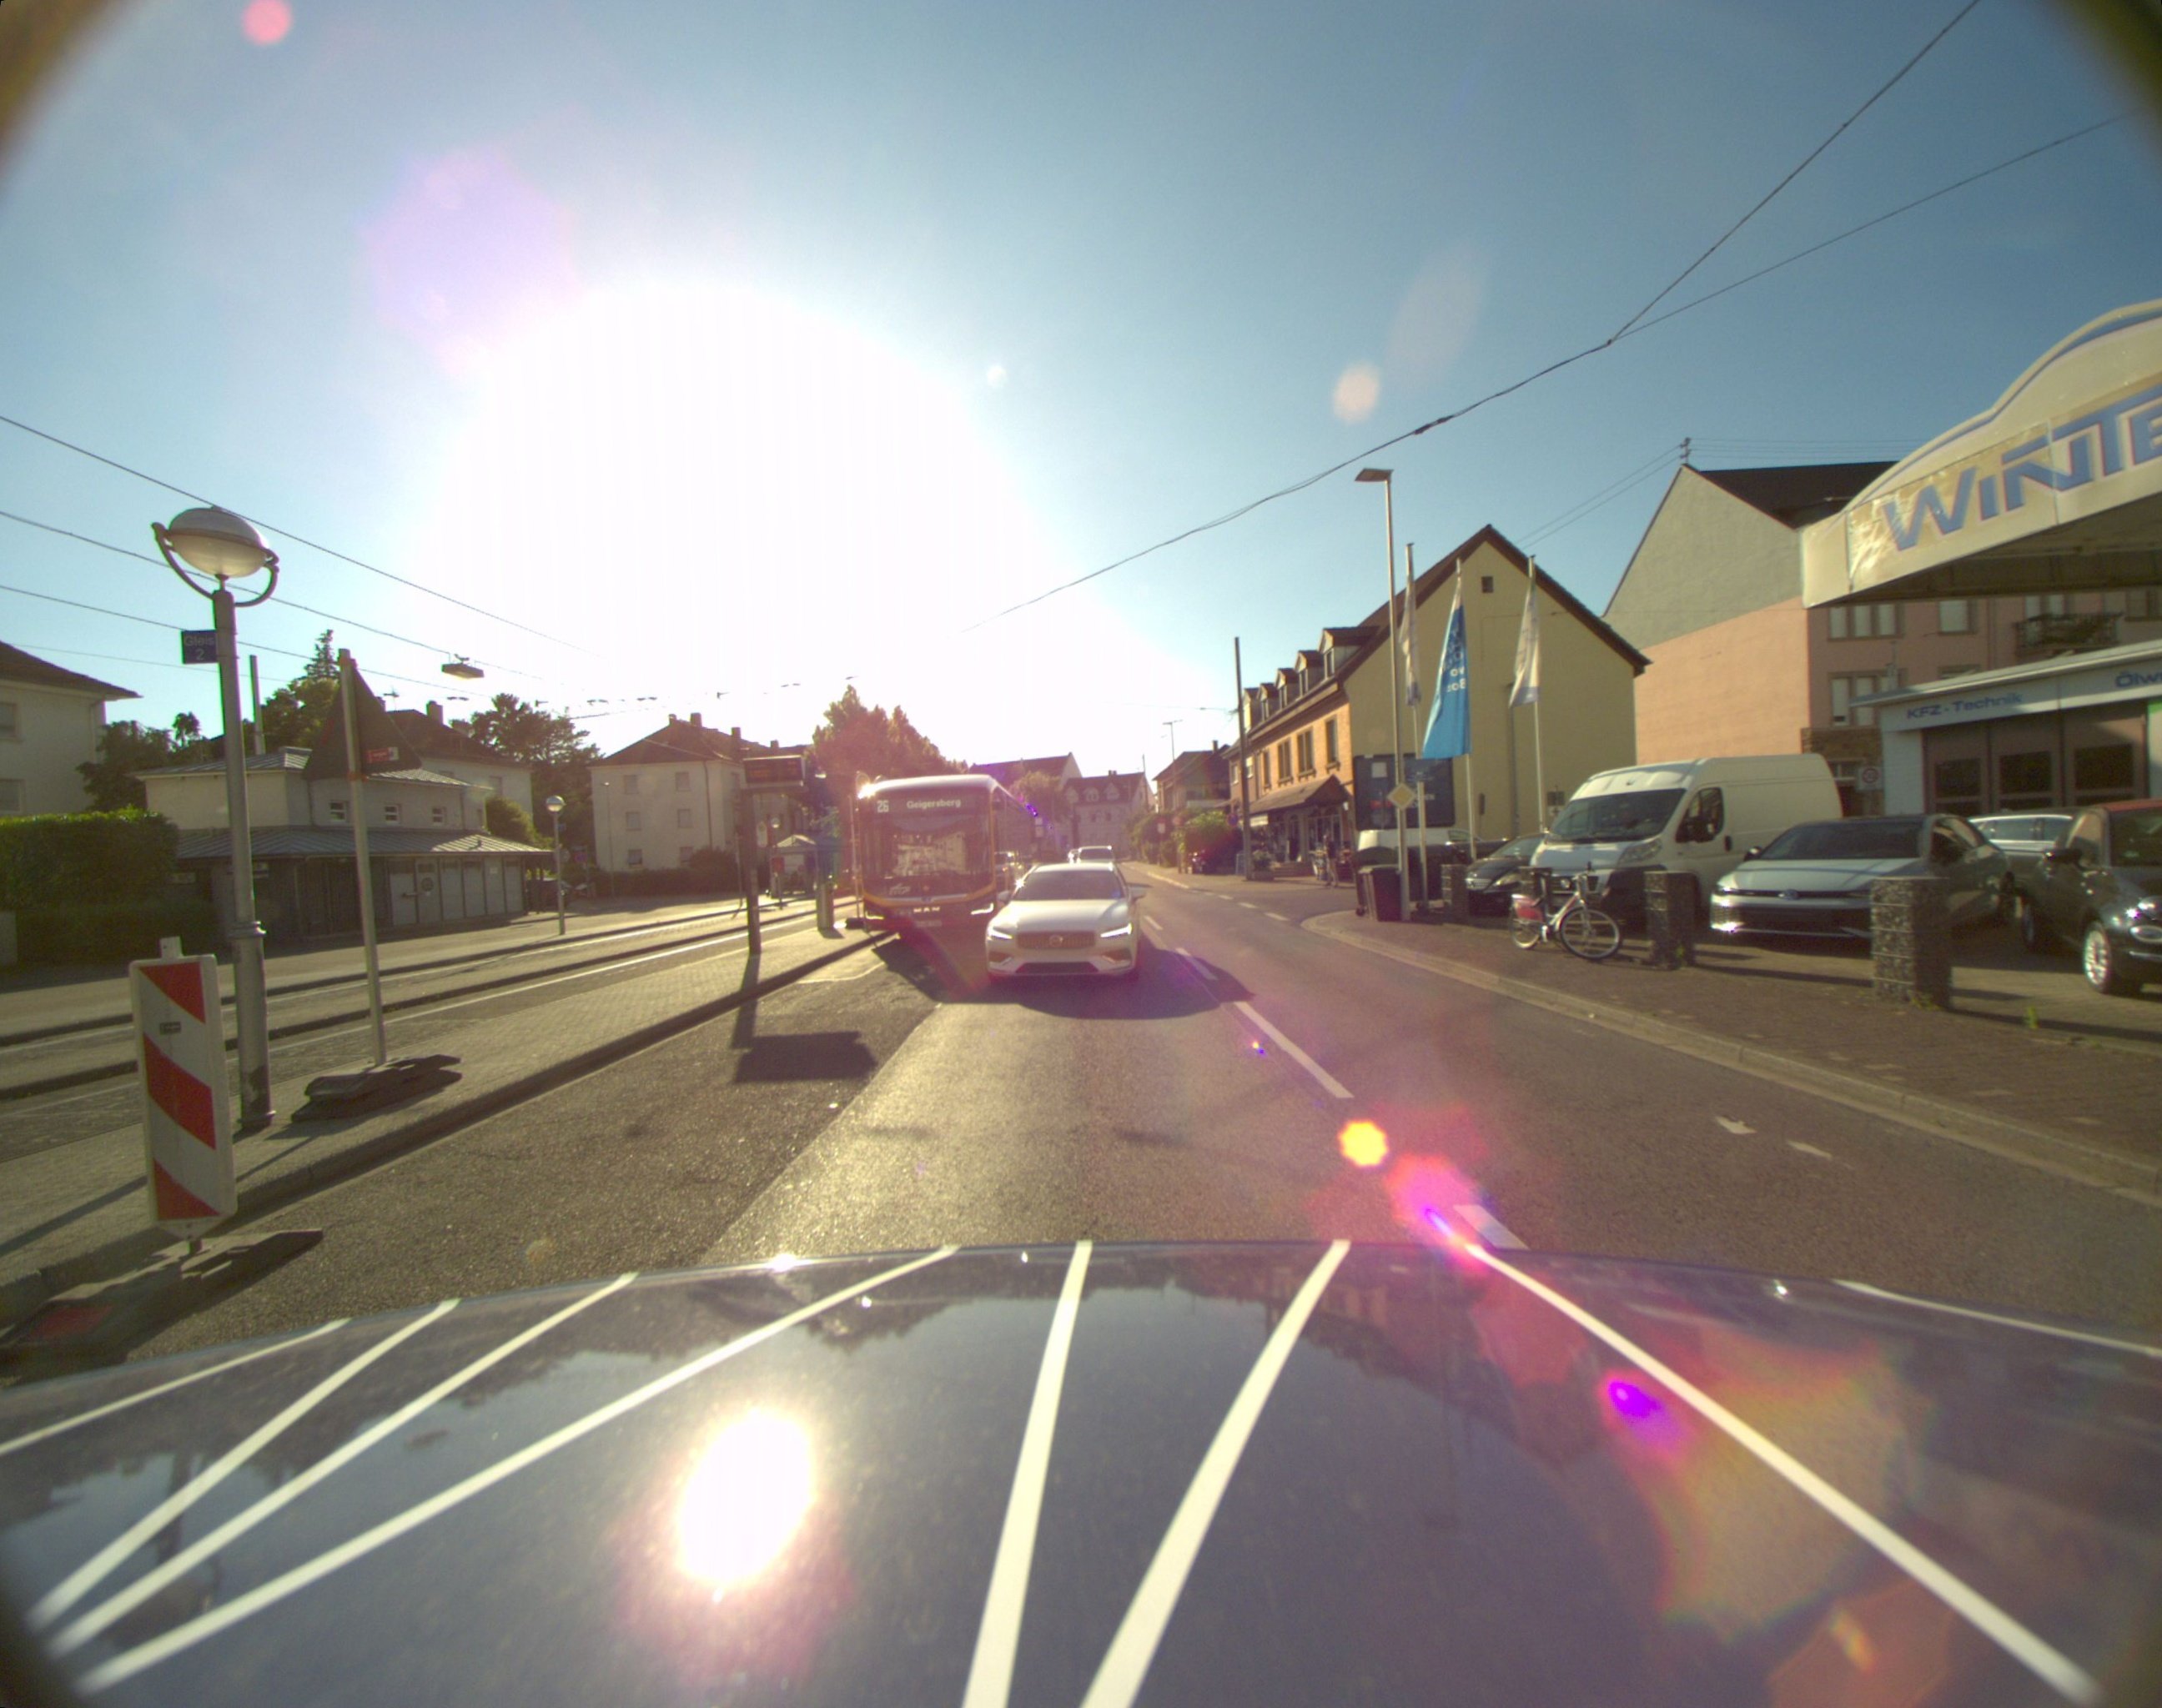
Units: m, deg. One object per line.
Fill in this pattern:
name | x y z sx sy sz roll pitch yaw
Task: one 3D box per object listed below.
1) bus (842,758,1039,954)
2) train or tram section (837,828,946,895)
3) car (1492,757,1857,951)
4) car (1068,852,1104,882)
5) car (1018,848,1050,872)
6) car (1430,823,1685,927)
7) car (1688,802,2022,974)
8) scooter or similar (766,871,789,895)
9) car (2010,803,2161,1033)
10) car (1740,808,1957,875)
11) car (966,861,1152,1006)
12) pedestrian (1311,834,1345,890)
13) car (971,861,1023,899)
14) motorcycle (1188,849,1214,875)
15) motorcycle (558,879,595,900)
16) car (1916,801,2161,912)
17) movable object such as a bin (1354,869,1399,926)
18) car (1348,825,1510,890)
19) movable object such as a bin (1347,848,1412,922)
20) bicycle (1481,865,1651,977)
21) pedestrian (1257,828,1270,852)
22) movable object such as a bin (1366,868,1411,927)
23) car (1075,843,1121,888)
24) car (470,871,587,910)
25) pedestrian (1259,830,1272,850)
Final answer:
bus | -2.861 -0.003 19.670 2.695 3.396 12.017 -3 0 0
train or tram section | -11.662 0.186 49.102 2.965 3.514 15.964 -2 2 0
car | 9.182 -0.108 11.753 5.076 2.455 2.105 -4 1 -22
car | 0.330 0.749 45.908 1.998 1.664 4.000 -2 0 1
car | -3.397 0.421 55.385 1.998 1.664 4.000 -2 0 1
car | 8.993 0.356 14.436 4.001 1.559 1.771 -4 0 -14
car | 9.362 0.293 9.143 4.005 1.559 1.769 -4 0 -29
scooter or similar | -16.104 1.521 40.309 0.467 1.201 1.210 -2 1 11
car | 9.110 0.376 6.123 1.617 1.559 3.400 -2 1 43
car | 21.262 -0.388 21.204 3.997 1.517 1.998 -3 5 0
car | -0.106 0.903 10.640 1.998 1.454 4.450 -3 0 4
pedestrian | 8.533 0.275 26.233 0.793 1.857 0.821 -2 1 40
car | -4.042 1.234 37.177 1.998 1.664 4.000 -2 0 1
motorcycle | 6.322 0.391 40.193 0.841 1.275 2.231 -4 1 -3
motorcycle | -31.091 2.171 46.844 1.826 1.155 0.558 -3 1 -3
car | 16.359 0.002 11.872 1.772 1.559 4.315 -4 0 -1
movable object such as a bin | 5.873 0.857 15.126 0.661 1.056 0.585 -5 -1 12
car | 11.876 0.103 26.117 4.627 1.922 1.999 -3 1 -2
movable object such as a bin | 6.356 0.652 16.143 1.055 1.473 1.315 -4 -2 28
bicycle | 5.886 0.759 9.362 0.725 1.171 1.779 -3 1 -9
pedestrian | 9.980 -0.776 41.599 0.524 1.251 0.465 -3 1 1
movable object such as a bin | 5.858 0.829 14.497 0.641 1.063 0.581 -3 -2 12
car | 0.755 0.508 37.112 1.871 1.922 4.791 -4 0 -2
car | -27.805 1.810 38.298 4.448 1.759 2.000 -2 1 4
pedestrian | 9.794 -0.734 40.364 0.525 1.041 0.383 -3 1 -16
